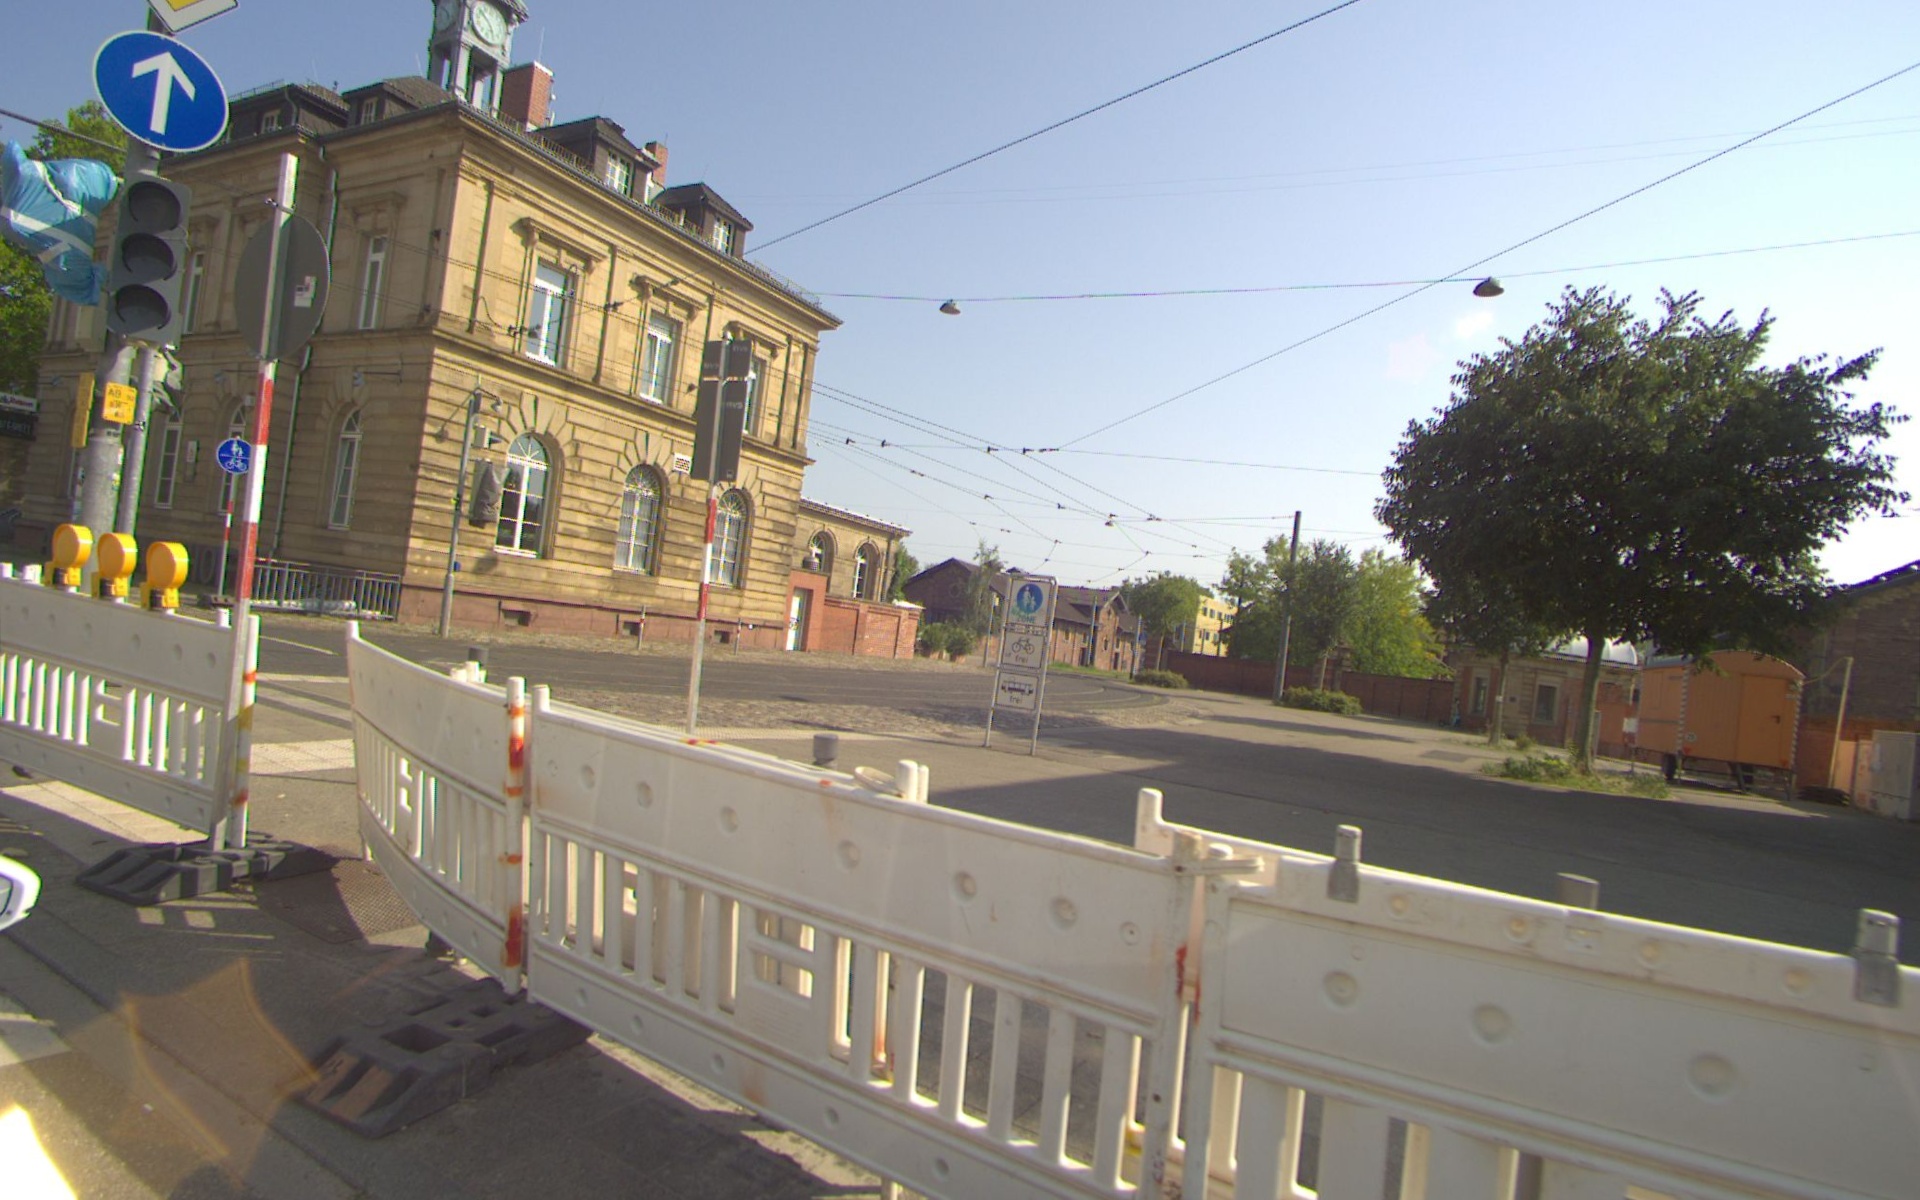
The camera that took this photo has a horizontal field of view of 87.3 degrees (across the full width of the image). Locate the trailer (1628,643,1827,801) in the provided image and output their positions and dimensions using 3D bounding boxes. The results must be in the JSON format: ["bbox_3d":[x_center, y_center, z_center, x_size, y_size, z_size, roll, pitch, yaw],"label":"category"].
[{"bbox_3d":[17.705,2.744,23.502,2.510,3.104,4.002,5,-2,22],"label":"trailer"}]
